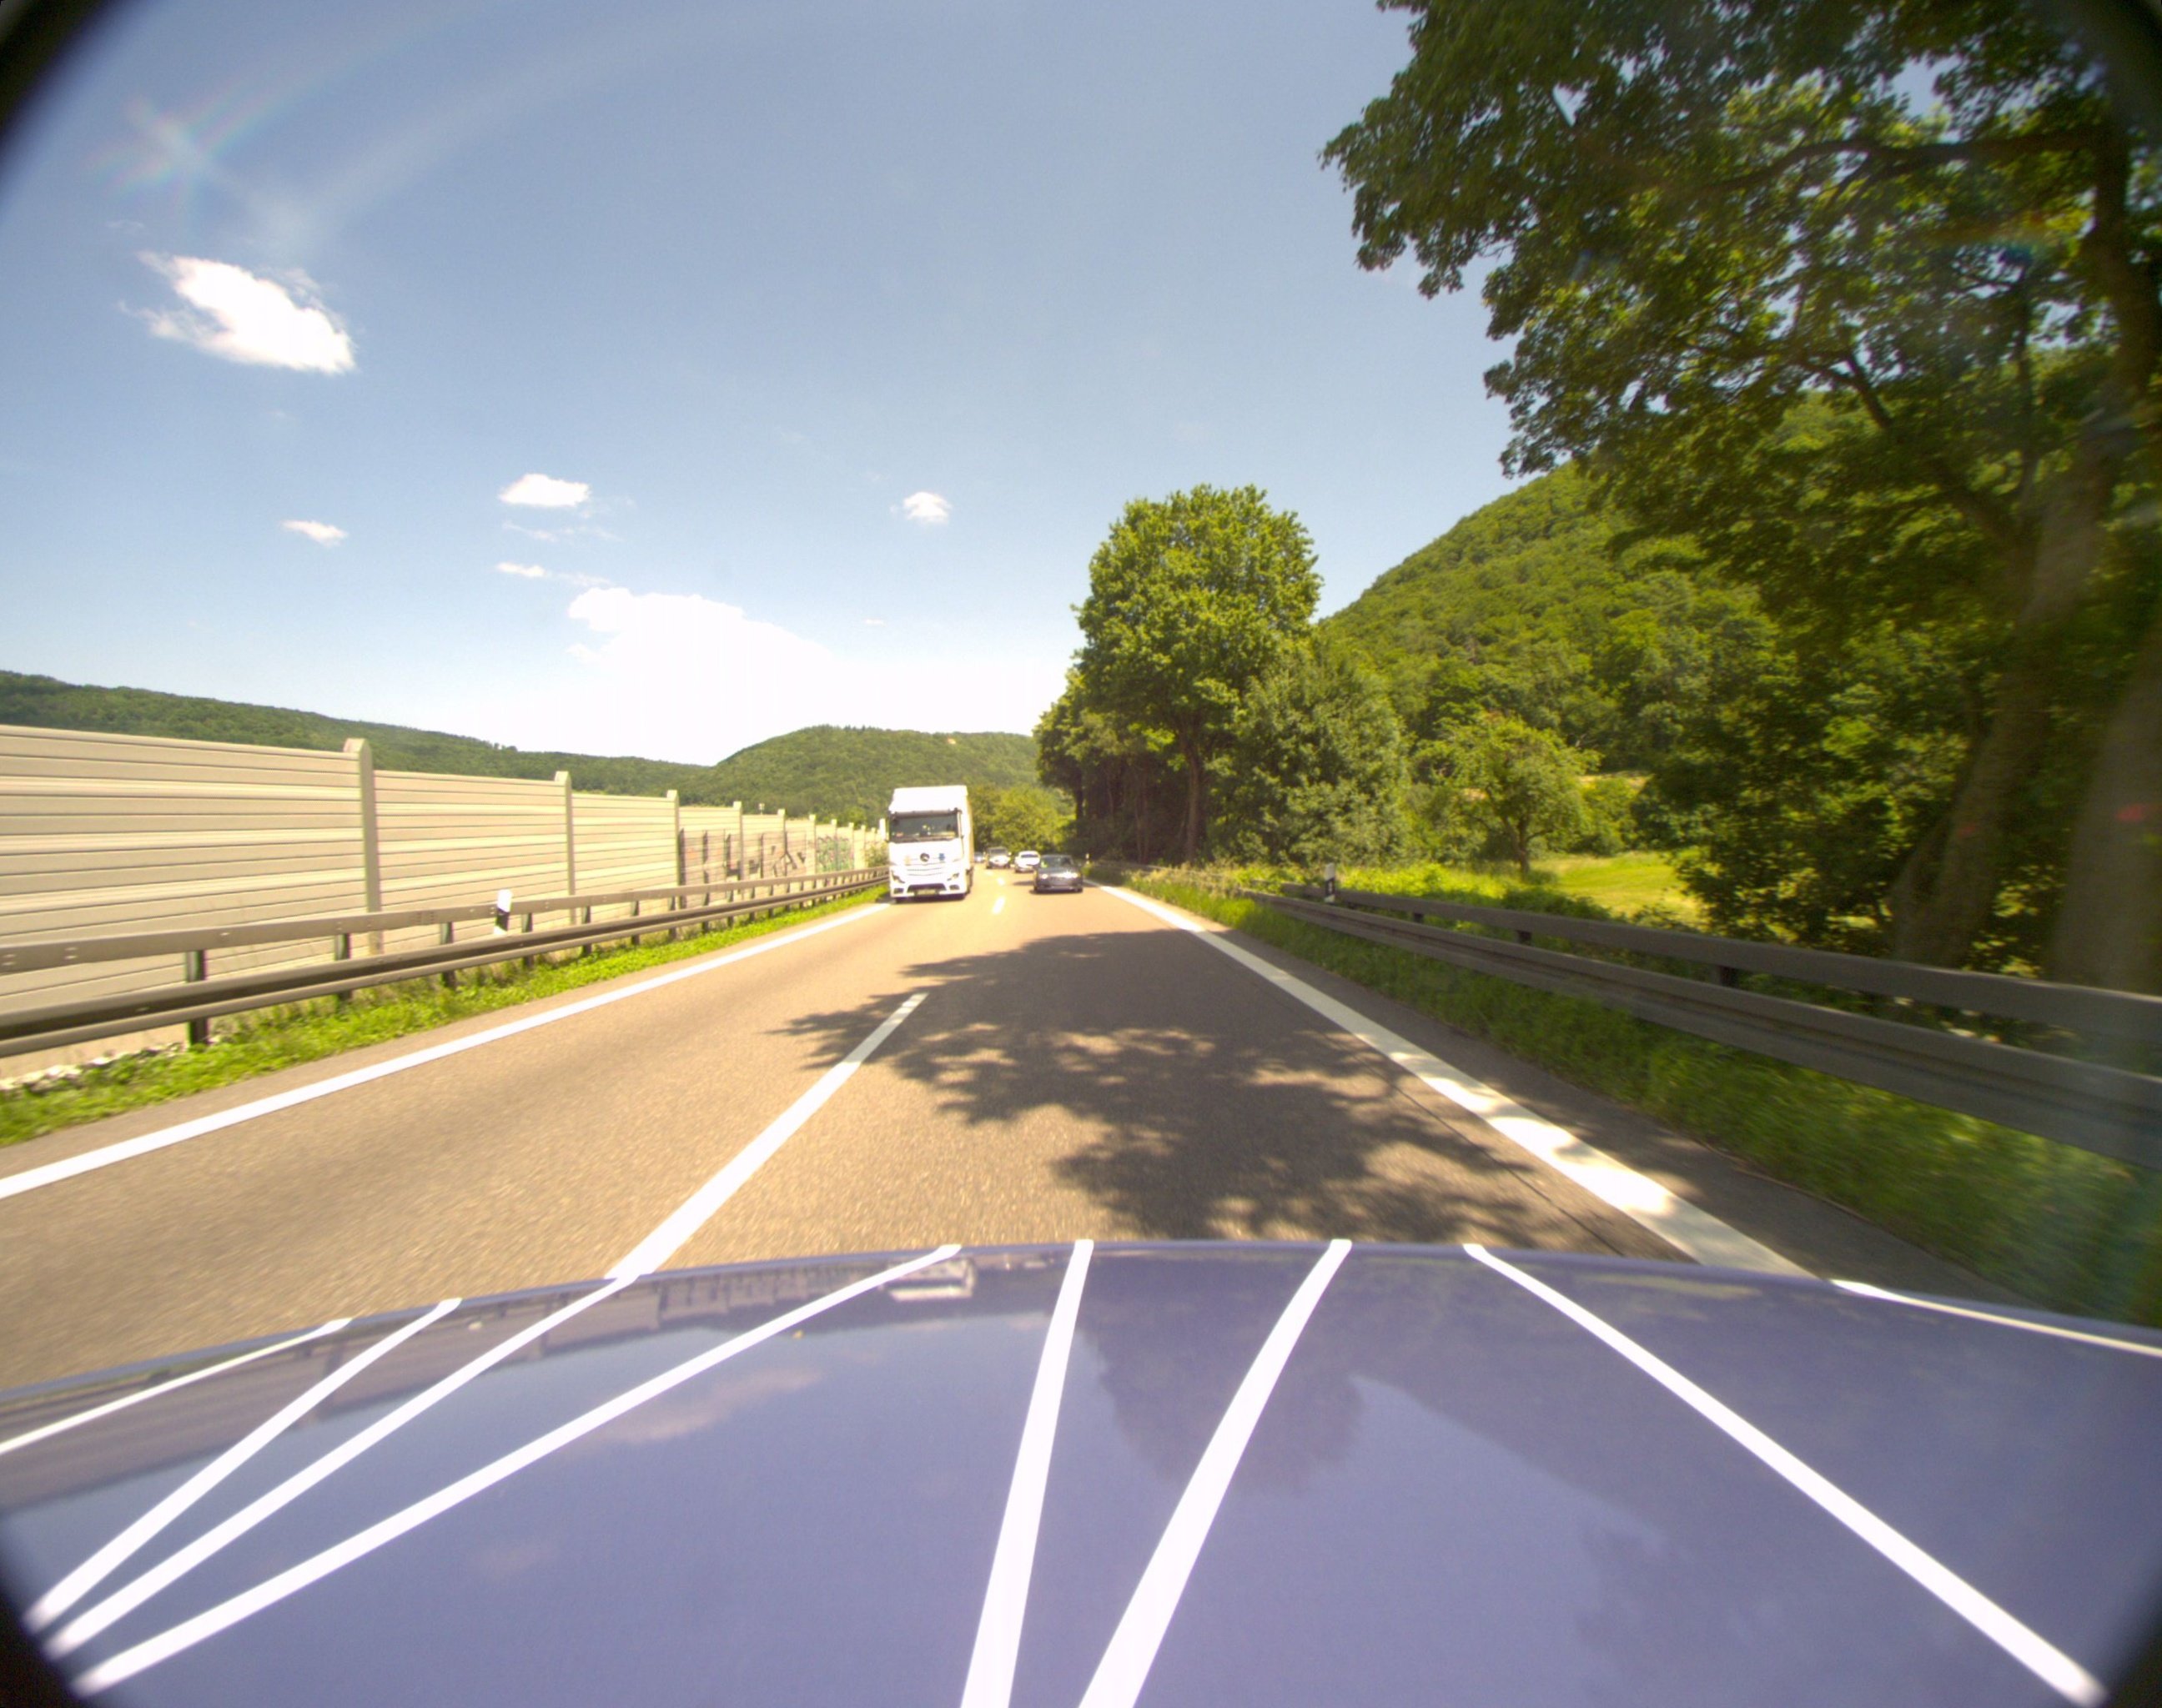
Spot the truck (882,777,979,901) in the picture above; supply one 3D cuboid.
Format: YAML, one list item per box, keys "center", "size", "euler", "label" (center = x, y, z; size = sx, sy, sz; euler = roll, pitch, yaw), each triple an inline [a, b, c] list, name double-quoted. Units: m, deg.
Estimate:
- center: [-5.416, -0.523, 28.537]
  size: [2.765, 4.015, 6.819]
  euler: [-2, 1, -6]
  label: "truck"

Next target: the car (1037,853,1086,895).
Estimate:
- center: [-0.783, 0.699, 28.450]
  size: [1.663, 1.435, 3.474]
  euler: [-2, 0, -4]
  label: "car"

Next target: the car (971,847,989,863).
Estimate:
- center: [-13.183, 0.129, 98.855]
  size: [2.000, 2.002, 3.996]
  euler: [-1, 0, -11]
  label: "car"

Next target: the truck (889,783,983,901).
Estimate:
- center: [-5.974, -0.473, 33.409]
  size: [2.863, 4.124, 12.039]
  euler: [-3, 1, -6]
  label: "truck"

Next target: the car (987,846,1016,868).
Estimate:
- center: [-7.248, 0.263, 68.783]
  size: [2.046, 1.855, 3.995]
  euler: [-1, 0, -14]
  label: "car"

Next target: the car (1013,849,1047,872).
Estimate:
- center: [-3.678, 0.436, 53.947]
  size: [1.717, 1.541, 3.994]
  euler: [0, 1, -14]
  label: "car"
